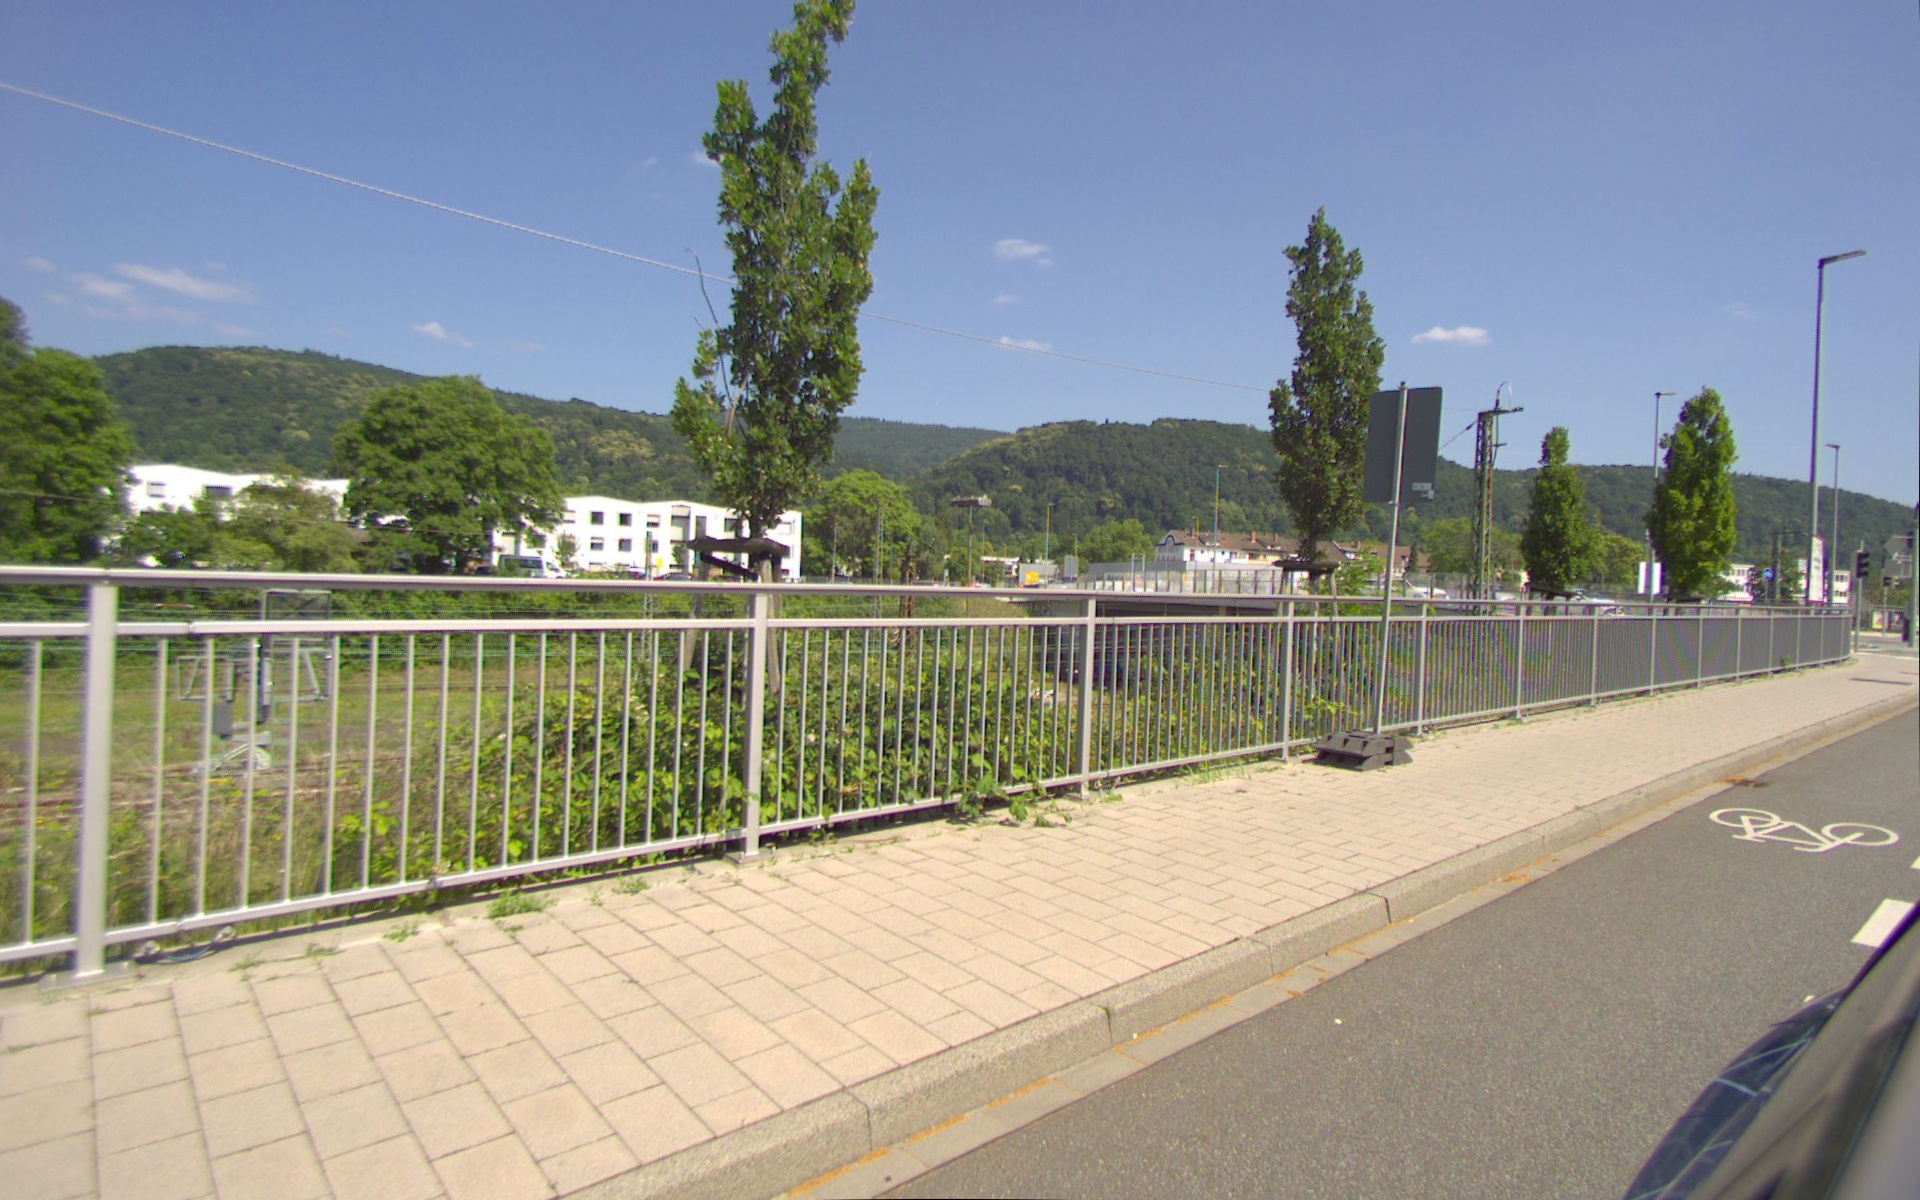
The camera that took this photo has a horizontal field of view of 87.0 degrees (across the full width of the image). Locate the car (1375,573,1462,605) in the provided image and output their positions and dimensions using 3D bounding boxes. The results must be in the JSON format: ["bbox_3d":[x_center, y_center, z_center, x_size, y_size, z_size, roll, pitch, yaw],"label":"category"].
[{"bbox_3d":[27.384,-0.672,60.622,1.958,1.740,4.644,2,1,-21],"label":"car"}]

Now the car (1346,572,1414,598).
[{"bbox_3d":[28.335,-1.030,68.403,1.700,1.646,4.453,2,1,-19],"label":"car"}]

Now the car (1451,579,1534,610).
[{"bbox_3d":[31.453,-0.369,59.916,1.700,1.646,4.453,2,1,-16],"label":"car"}]

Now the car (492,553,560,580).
[{"bbox_3d":[-36.518,-2.811,85.175,4.896,2.139,2.000,1,1,-36],"label":"car"}]

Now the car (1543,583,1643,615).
[{"bbox_3d":[33.187,-0.073,53.195,1.700,1.488,4.421,2,1,-16],"label":"car"}]

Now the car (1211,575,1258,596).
[{"bbox_3d":[23.477,-1.270,86.769,1.700,1.647,4.452,2,1,-19],"label":"car"}]
